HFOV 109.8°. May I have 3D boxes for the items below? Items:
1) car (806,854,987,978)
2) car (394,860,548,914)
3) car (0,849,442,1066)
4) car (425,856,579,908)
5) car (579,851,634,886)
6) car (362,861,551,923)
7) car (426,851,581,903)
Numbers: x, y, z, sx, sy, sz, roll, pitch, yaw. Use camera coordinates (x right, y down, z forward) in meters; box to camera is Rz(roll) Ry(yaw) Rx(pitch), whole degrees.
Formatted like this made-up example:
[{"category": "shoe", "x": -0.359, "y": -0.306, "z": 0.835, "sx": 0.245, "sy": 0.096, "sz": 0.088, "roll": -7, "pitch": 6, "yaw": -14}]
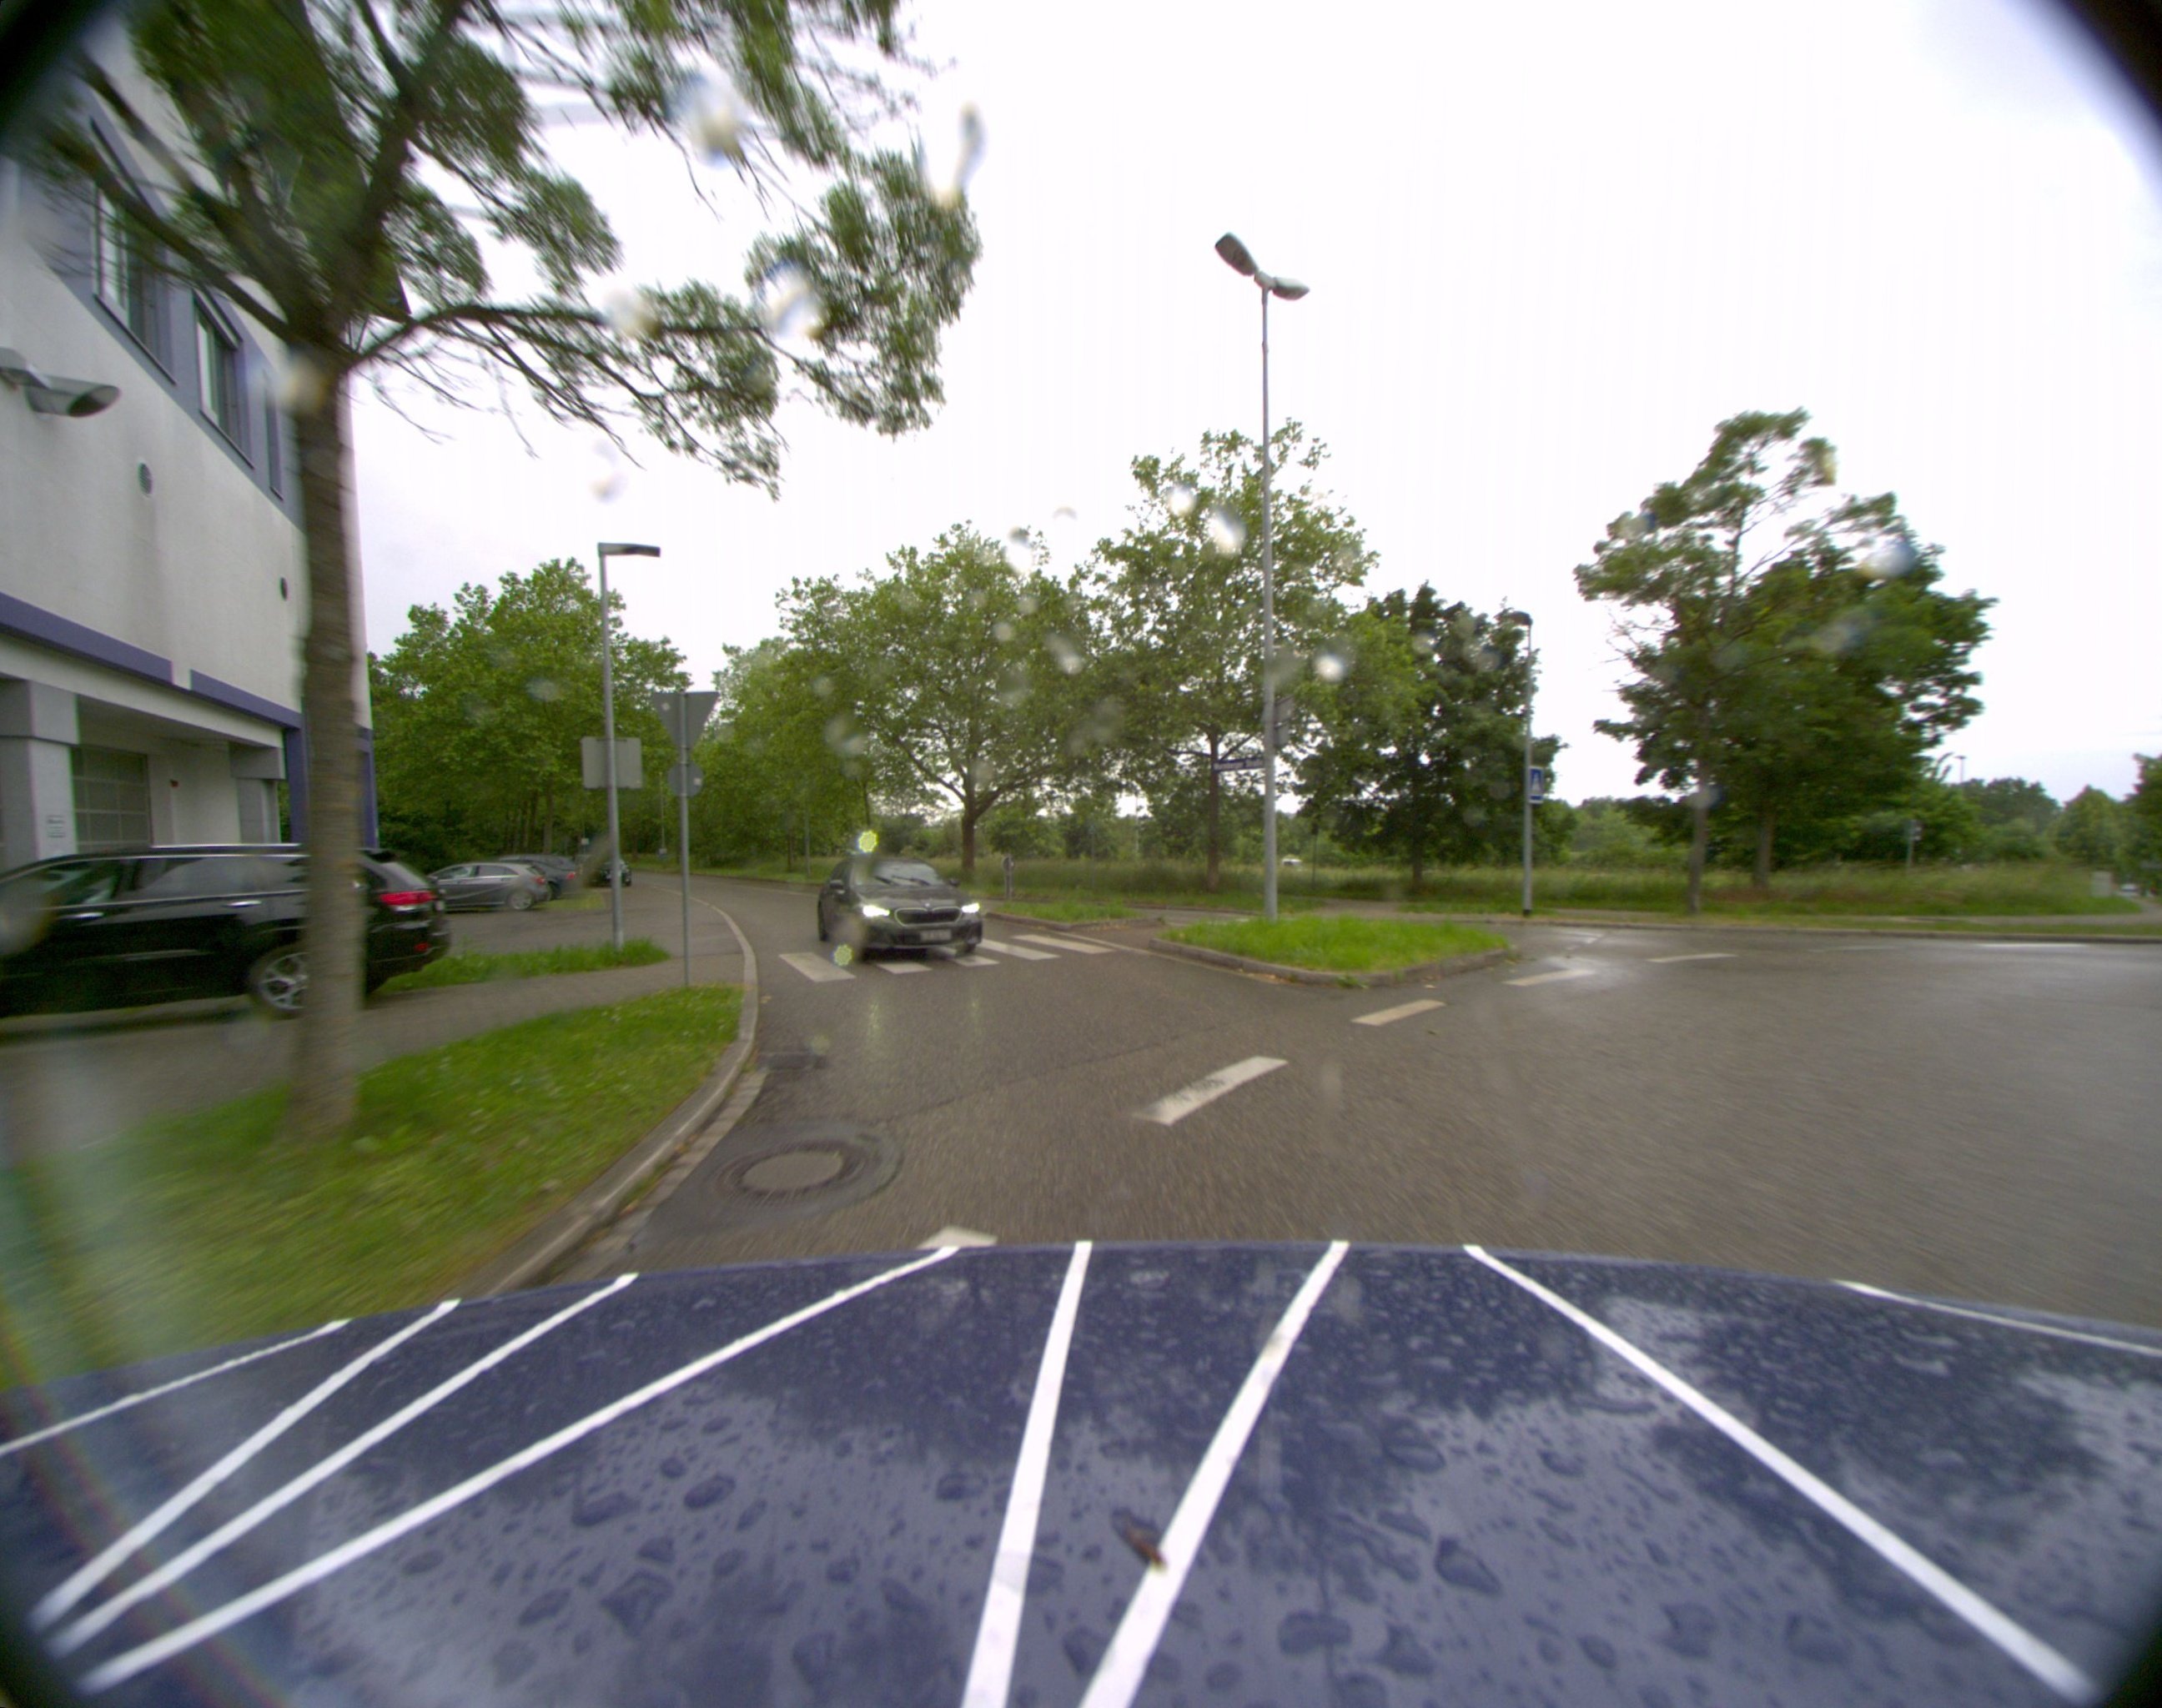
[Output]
[{"category": "car", "x": -3.301, "y": 0.834, "z": 12.746, "sx": 1.847, "sy": 1.486, "sz": 4.890, "roll": -3, "pitch": 2, "yaw": -27}, {"category": "car", "x": -19.142, "y": 0.979, "z": 24.057, "sx": 3.634, "sy": 1.444, "sz": 1.716, "roll": -2, "pitch": 1, "yaw": -36}, {"category": "car", "x": -9.250, "y": 0.915, "z": 7.394, "sx": 4.399, "sy": 1.749, "sz": 1.825, "roll": -2, "pitch": 0, "yaw": -34}, {"category": "car", "x": -20.139, "y": 0.918, "z": 26.583, "sx": 4.127, "sy": 1.470, "sz": 1.716, "roll": -3, "pitch": 3, "yaw": -38}, {"category": "car", "x": -24.035, "y": 0.698, "z": 38.449, "sx": 1.811, "sy": 1.593, "sz": 4.358, "roll": -1, "pitch": 1, "yaw": -39}, {"category": "car", "x": -17.719, "y": 1.032, "z": 21.826, "sx": 3.957, "sy": 1.445, "sz": 1.716, "roll": -2, "pitch": 2, "yaw": -33}, {"category": "car", "x": -21.762, "y": 0.822, "z": 28.802, "sx": 4.493, "sy": 1.670, "sz": 1.763, "roll": -3, "pitch": 1, "yaw": -38}]
